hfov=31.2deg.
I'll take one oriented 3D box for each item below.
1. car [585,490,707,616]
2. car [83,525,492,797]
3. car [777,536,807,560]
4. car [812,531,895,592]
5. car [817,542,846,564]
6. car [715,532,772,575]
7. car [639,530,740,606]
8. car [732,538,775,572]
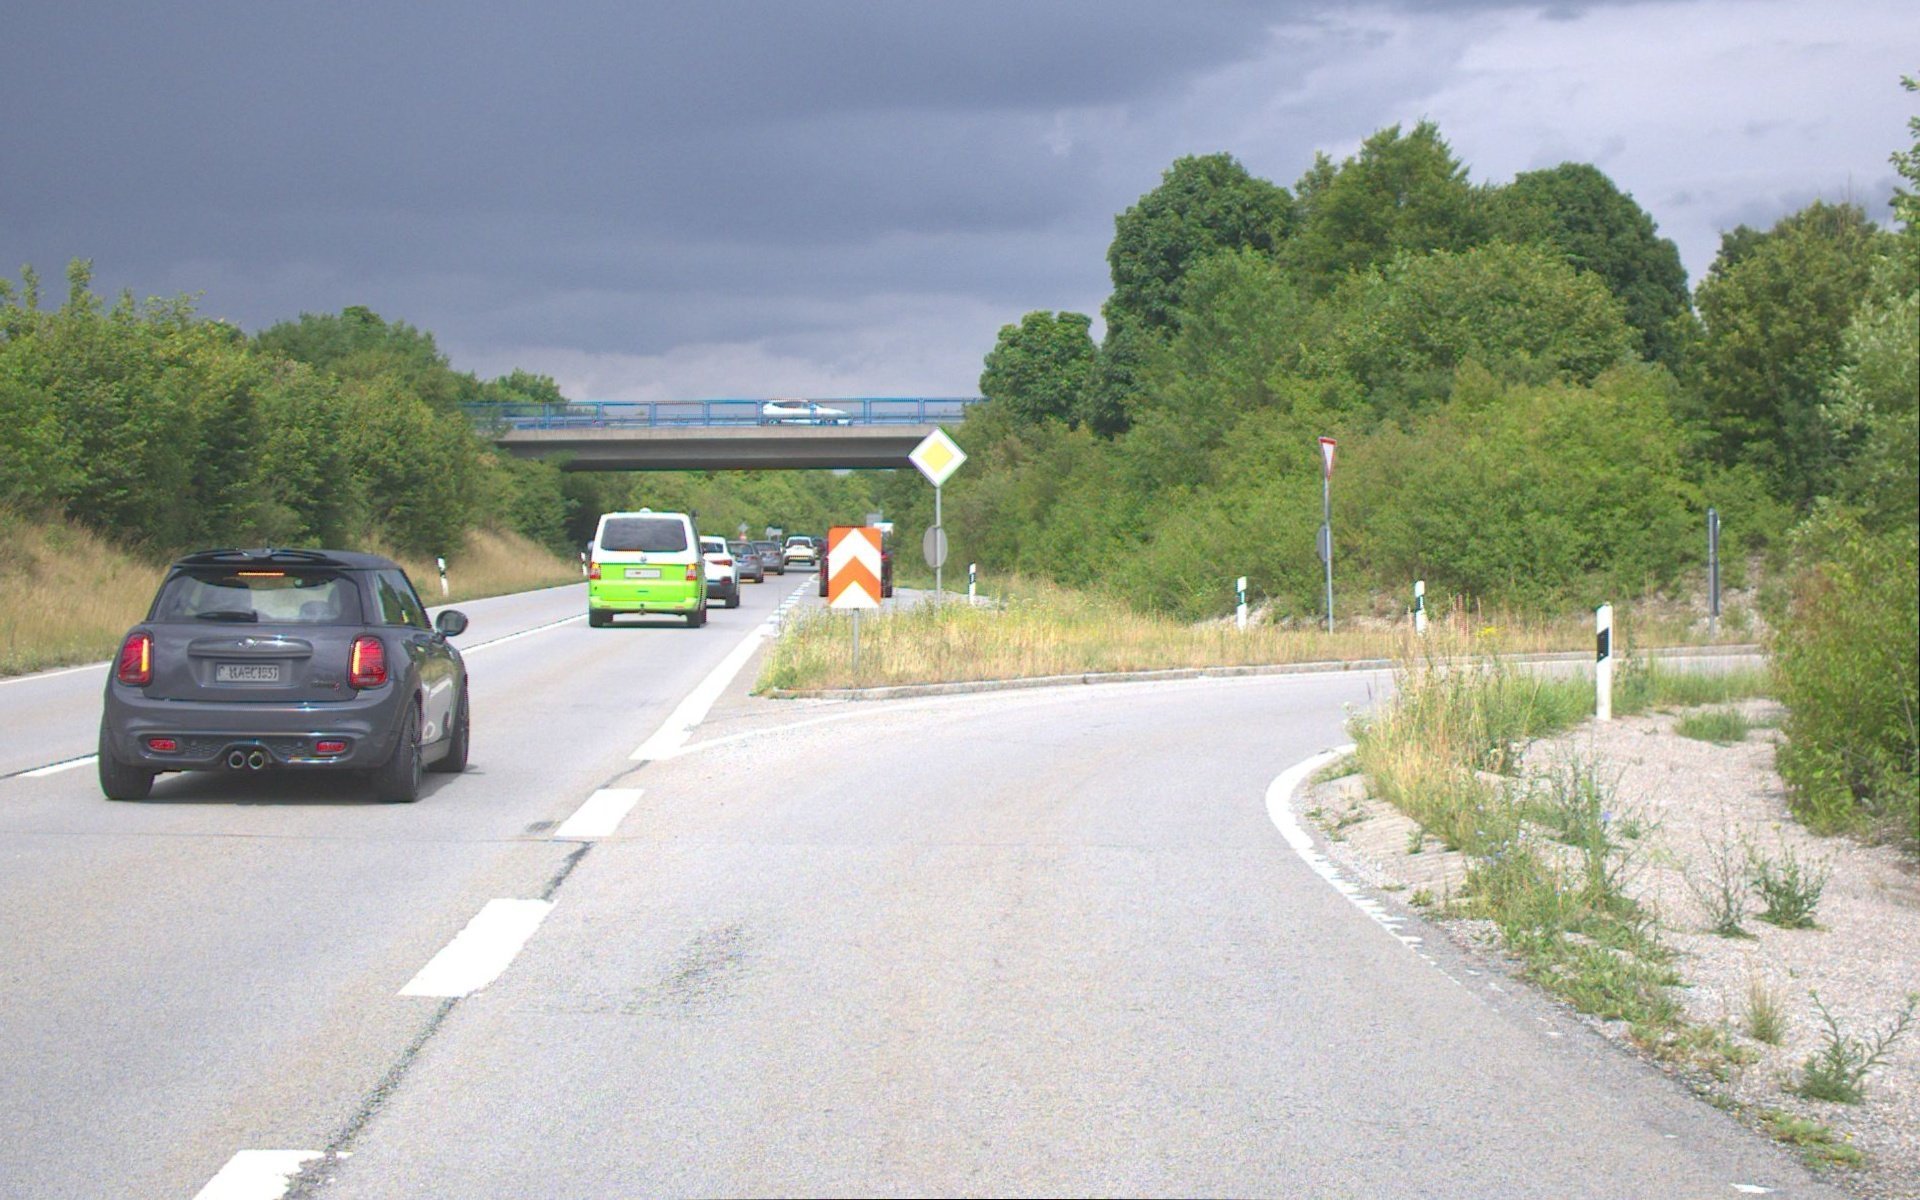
[{"bbox_3d":[-5.339,-0.812,58.827,1.819,2.047,4.001,1,1,-2],"label":"car"},{"bbox_3d":[-3.888,0.293,20.502,1.756,1.422,4.001,1,1,-2],"label":"car"},{"bbox_3d":[-9.784,-3.045,200.509,1.667,1.398,4.000,1,1,-2],"label":"car"},{"bbox_3d":[-2.862,-1.040,91.631,1.993,1.546,4.001,1,1,-4],"label":"car"},{"bbox_3d":[-8.340,-3.074,224.001,1.667,1.398,4.000,1,1,1],"label":"car"},{"bbox_3d":[-7.347,-1.584,116.977,1.667,1.398,4.000,1,1,0],"label":"car"},{"bbox_3d":[-5.842,-0.716,74.629,1.993,1.546,4.000,1,1,-2],"label":"car"},{"bbox_3d":[-8.770,-1.909,146.236,1.667,1.398,4.001,1,1,-2],"label":"car"}]
